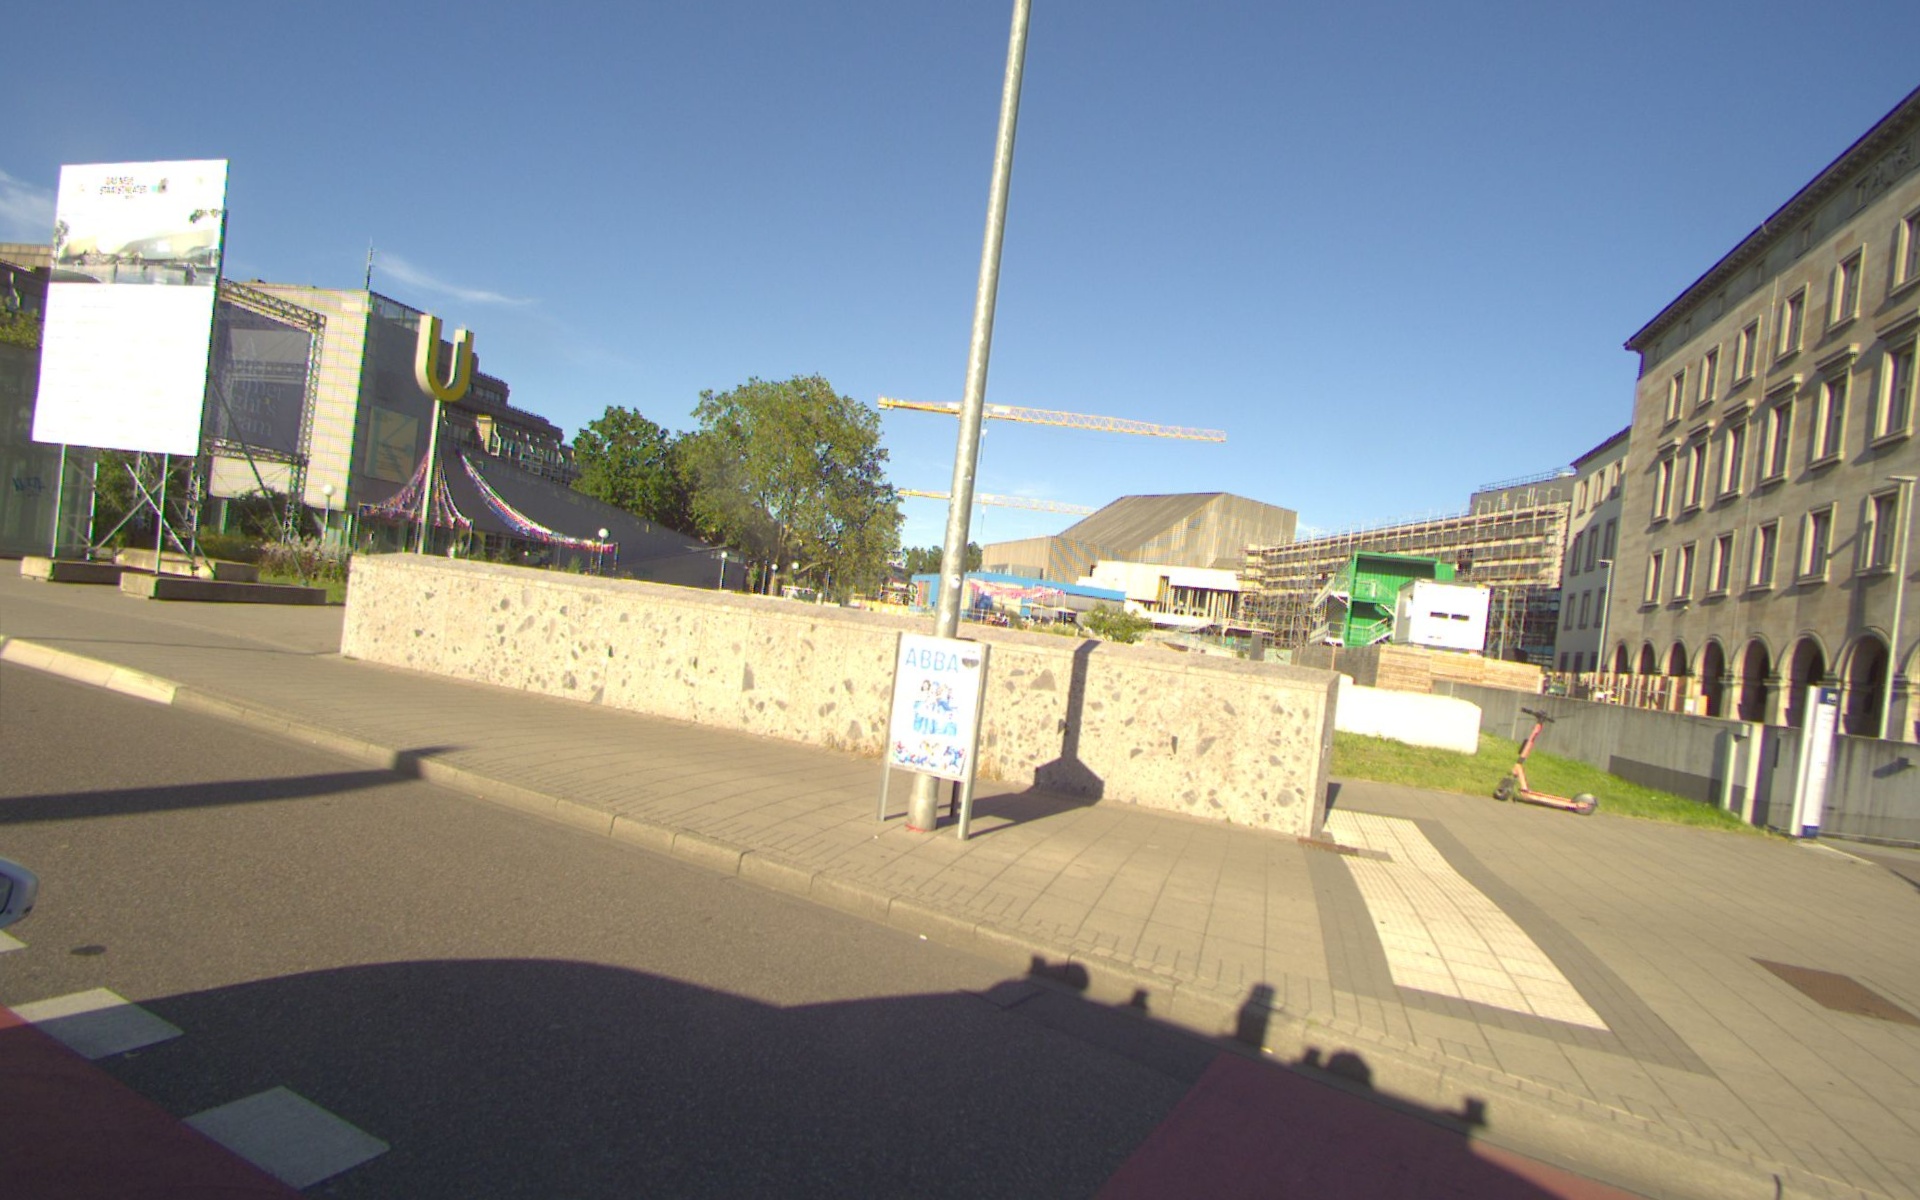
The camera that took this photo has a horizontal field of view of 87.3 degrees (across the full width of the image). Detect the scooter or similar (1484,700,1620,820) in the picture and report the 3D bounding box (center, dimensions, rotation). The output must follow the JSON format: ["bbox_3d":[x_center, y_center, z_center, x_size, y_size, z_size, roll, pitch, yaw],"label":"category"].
[{"bbox_3d":[7.516,2.006,12.798,1.347,1.261,0.361,7,2,34],"label":"scooter or similar"}]
